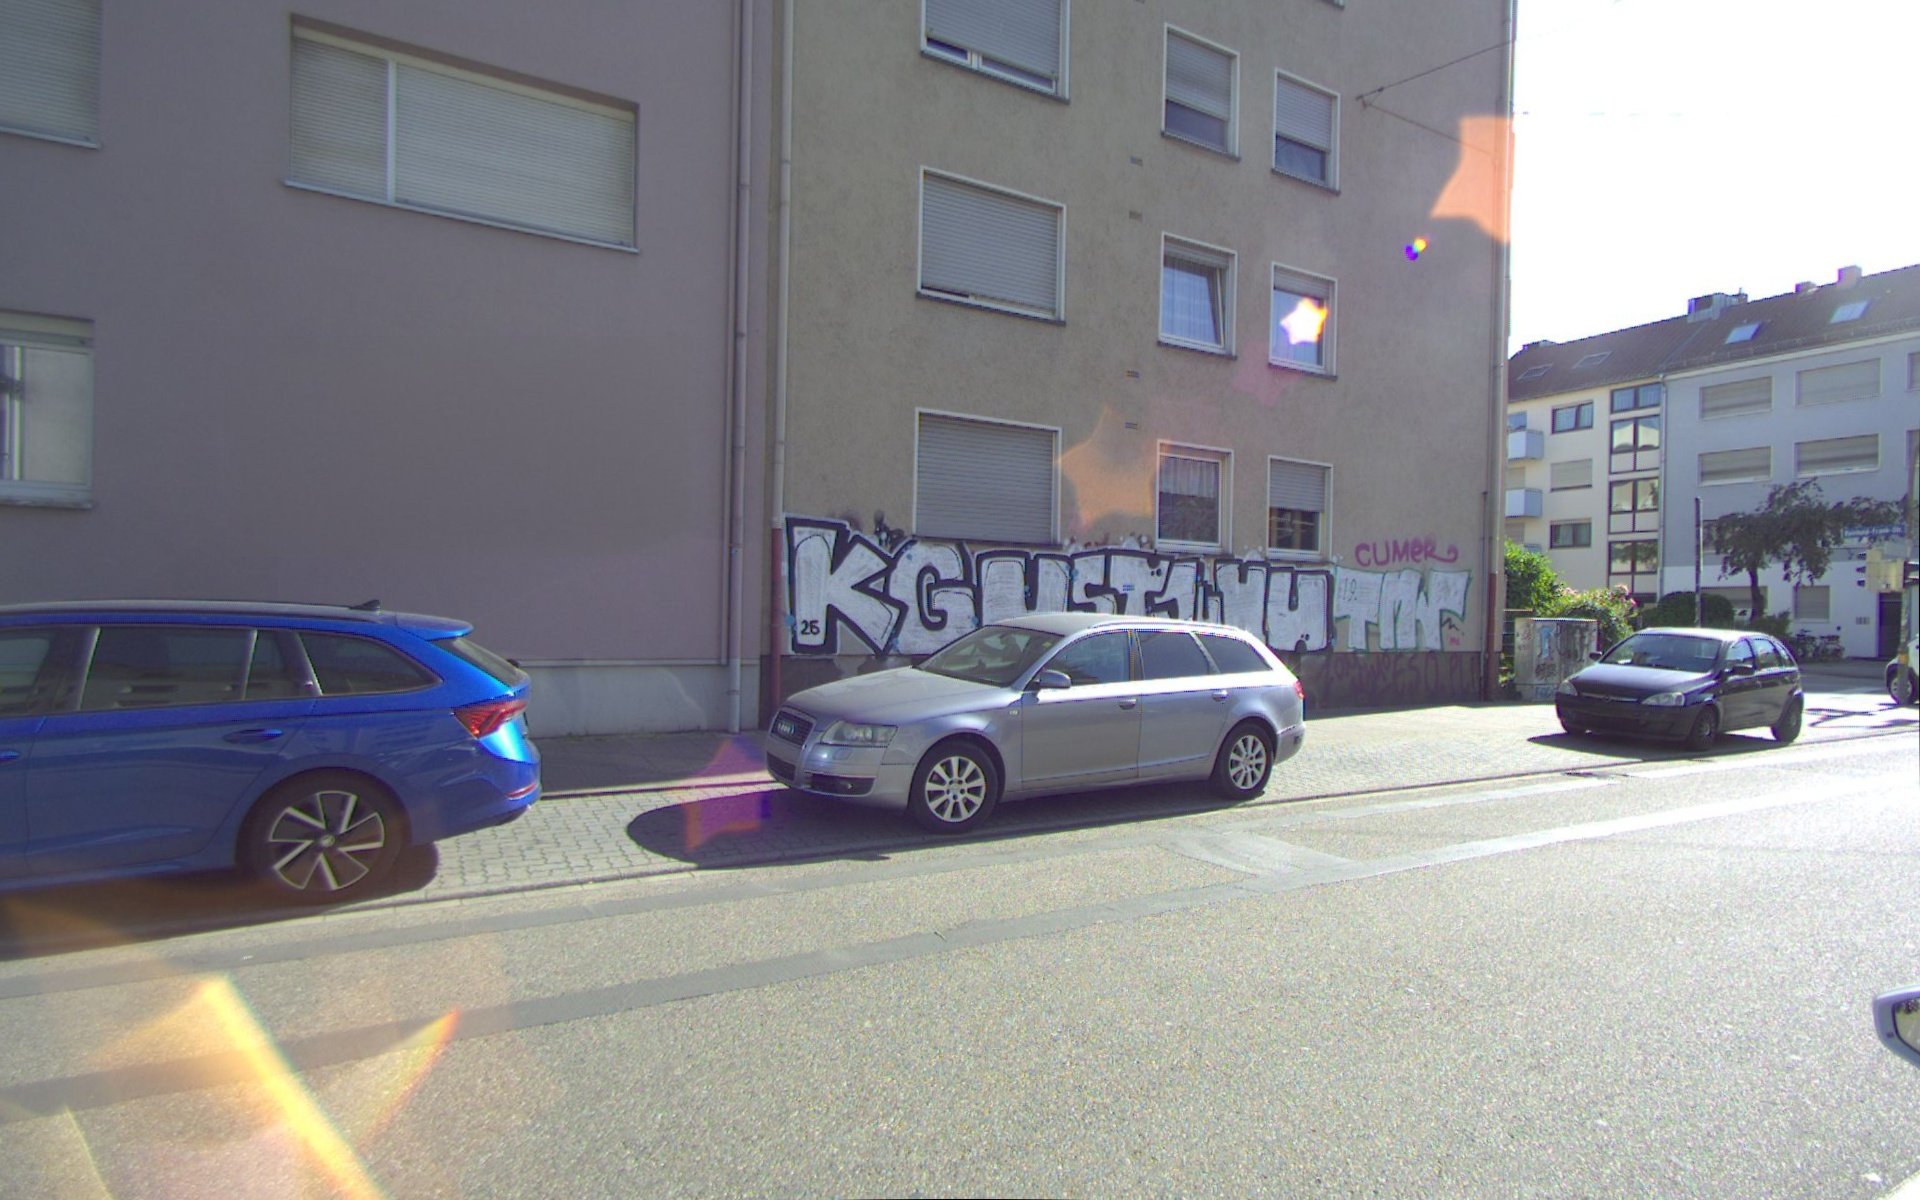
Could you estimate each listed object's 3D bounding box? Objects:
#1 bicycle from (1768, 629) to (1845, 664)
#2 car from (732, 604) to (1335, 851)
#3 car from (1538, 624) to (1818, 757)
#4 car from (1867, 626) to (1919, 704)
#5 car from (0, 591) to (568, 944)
[{"bbox_3d":[30.701,1.662,36.467,2.068,1.188,0.738,0,-1,38],"label":"bicycle"},{"bbox_3d":[0.734,0.838,8.165,4.759,1.485,1.709,1,1,-30],"label":"car"},{"bbox_3d":[9.491,1.097,13.232,3.667,1.444,1.608,1,2,-30],"label":"car"},{"bbox_3d":[20.392,1.328,19.758,1.736,1.557,3.786,0,-1,1],"label":"car"},{"bbox_3d":[-4.550,0.729,5.108,4.558,1.485,1.709,1,1,-30],"label":"car"}]
